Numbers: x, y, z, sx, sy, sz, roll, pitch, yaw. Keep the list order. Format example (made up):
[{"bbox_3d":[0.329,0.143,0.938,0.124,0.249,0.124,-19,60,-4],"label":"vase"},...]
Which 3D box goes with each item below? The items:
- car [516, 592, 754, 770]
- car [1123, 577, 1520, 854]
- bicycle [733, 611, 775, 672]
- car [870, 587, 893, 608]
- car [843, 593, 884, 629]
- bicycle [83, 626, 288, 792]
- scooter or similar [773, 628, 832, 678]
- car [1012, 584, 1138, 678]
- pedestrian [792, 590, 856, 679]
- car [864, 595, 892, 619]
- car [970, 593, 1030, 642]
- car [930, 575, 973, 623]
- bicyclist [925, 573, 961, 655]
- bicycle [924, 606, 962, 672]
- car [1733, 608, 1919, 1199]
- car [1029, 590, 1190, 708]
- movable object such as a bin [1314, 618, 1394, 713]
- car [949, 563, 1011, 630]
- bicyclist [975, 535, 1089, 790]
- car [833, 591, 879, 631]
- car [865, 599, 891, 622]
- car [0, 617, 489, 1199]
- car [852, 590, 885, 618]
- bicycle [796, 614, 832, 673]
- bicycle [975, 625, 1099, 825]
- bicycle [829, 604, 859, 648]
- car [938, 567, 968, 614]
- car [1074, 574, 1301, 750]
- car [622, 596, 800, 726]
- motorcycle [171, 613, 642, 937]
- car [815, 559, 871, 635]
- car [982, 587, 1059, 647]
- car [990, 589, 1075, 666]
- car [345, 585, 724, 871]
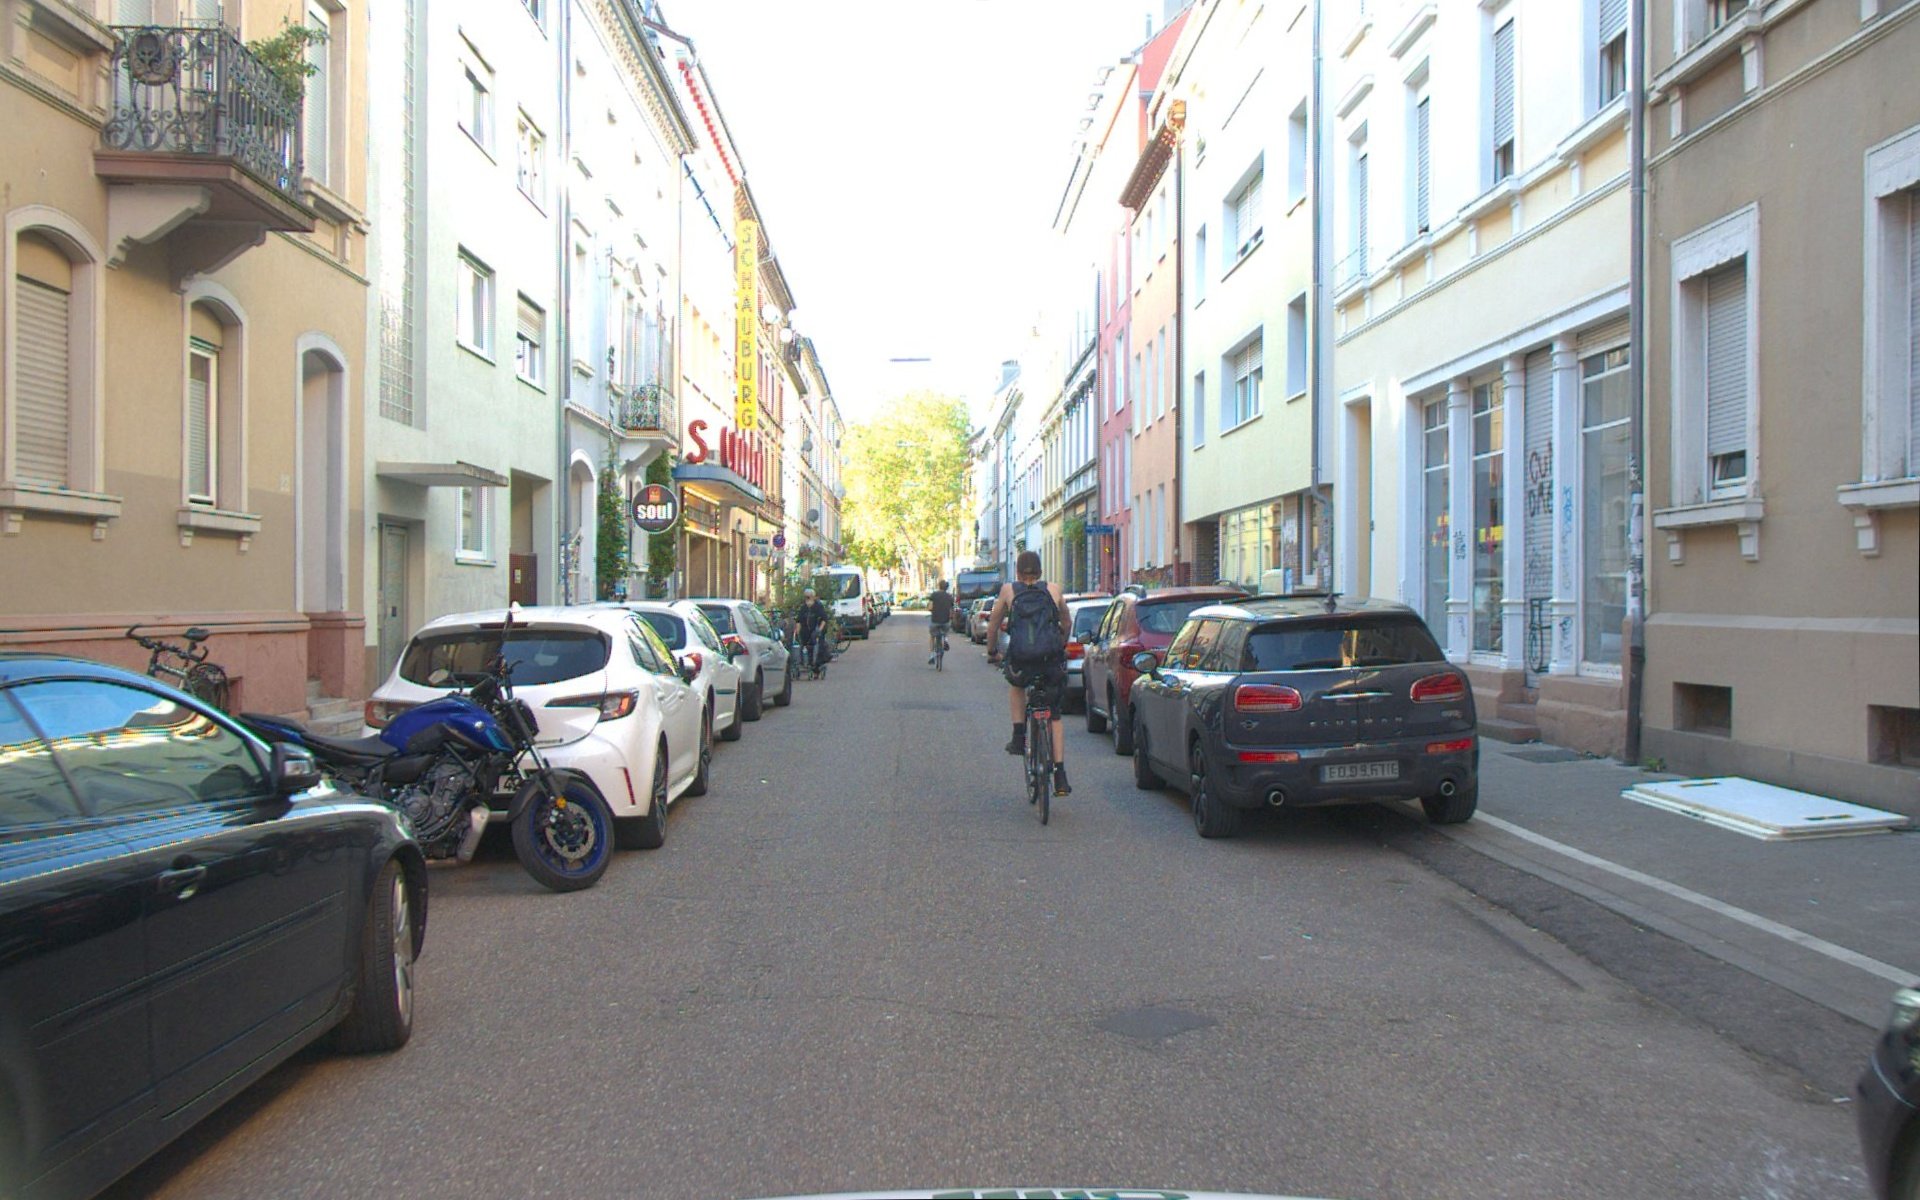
[{"bbox_3d":[-3.035,0.702,16.149,1.638,1.467,3.766,-2,0,-2],"label":"car"},{"bbox_3d":[2.327,0.684,11.729,1.780,1.548,3.998,-2,0,-2],"label":"car"},{"bbox_3d":[-4.121,0.811,33.237,0.743,1.154,2.272,1,0,-5],"label":"bicycle"},{"bbox_3d":[-5.999,-0.169,126.667,1.638,1.467,4.164,-2,0,-2],"label":"car"},{"bbox_3d":[-4.205,0.465,72.814,1.638,1.467,4.164,-2,0,-2],"label":"car"},{"bbox_3d":[-5.746,0.766,12.410,0.580,1.108,2.078,1,0,-1],"label":"bicycle"},{"bbox_3d":[-2.864,0.956,30.050,0.763,0.888,0.763,1,-1,-38],"label":"scooter or similar"},{"bbox_3d":[1.868,0.489,27.873,1.676,1.407,3.998,-2,0,-2],"label":"car"},{"bbox_3d":[-2.495,0.622,30.352,0.891,1.606,0.763,1,-1,-38],"label":"pedestrian"},{"bbox_3d":[-5.294,0.449,106.881,1.638,1.467,4.164,-2,0,-2],"label":"car"},{"bbox_3d":[1.278,0.563,54.321,1.676,1.472,3.998,-2,0,-2],"label":"car"},{"bbox_3d":[-0.534,-0.022,95.353,2.261,2.582,6.767,-2,0,-2],"label":"car"},{"bbox_3d":[-0.347,0.267,33.497,0.688,1.633,0.812,1,1,-2],"label":"bicyclist"},{"bbox_3d":[-0.358,0.770,33.547,0.688,1.229,2.341,1,1,-2],"label":"bicycle"},{"bbox_3d":[2.748,0.721,1.403,1.780,1.463,4.789,-2,0,-2],"label":"car"},{"bbox_3d":[1.958,0.623,22.692,1.676,1.407,3.998,-2,0,-2],"label":"car"},{"bbox_3d":[4.815,0.796,20.231,0.790,1.094,0.678,-3,0,3],"label":"movable object such as a bin"},{"bbox_3d":[0.785,-0.124,69.944,2.261,2.582,6.767,-2,0,-2],"label":"car"},{"bbox_3d":[0.482,0.414,11.432,0.688,1.662,1.090,1,0,-2],"label":"bicyclist"},{"bbox_3d":[-4.080,0.430,65.315,1.638,1.467,4.164,-2,0,-2],"label":"car"},{"bbox_3d":[-5.654,0.715,114.093,1.638,1.467,4.164,-2,0,-2],"label":"car"},{"bbox_3d":[-2.614,0.815,3.977,1.675,1.407,4.356,0,1,0],"label":"car"},{"bbox_3d":[-5.036,0.226,91.354,1.638,1.467,4.164,-2,0,-2],"label":"car"},{"bbox_3d":[-2.932,0.846,33.168,0.686,1.125,2.272,1,0,-5],"label":"bicycle"},{"bbox_3d":[0.500,0.811,11.647,0.688,1.229,2.341,1,0,-2],"label":"bicycle"},{"bbox_3d":[-3.187,0.698,45.342,0.743,1.184,2.272,1,0,-5],"label":"bicycle"},{"bbox_3d":[-0.650,-0.804,142.747,2.261,3.833,6.767,-2,0,-2],"label":"car"},{"bbox_3d":[2.274,0.588,17.516,1.676,1.583,3.998,-2,0,-2],"label":"car"},{"bbox_3d":[-3.123,0.728,21.424,1.637,1.467,3.754,-2,0,1],"label":"car"},{"bbox_3d":[-2.731,0.821,8.314,2.115,1.383,0.537,-3,1,-20],"label":"motorcycle"},{"bbox_3d":[-4.110,-0.123,58.322,1.872,2.540,4.162,-1,0,-4],"label":"car"},{"bbox_3d":[1.533,0.417,42.933,1.676,1.418,3.998,-2,0,-2],"label":"car"},{"bbox_3d":[1.589,0.603,37.479,1.588,1.577,3.998,-2,0,-2],"label":"car"},{"bbox_3d":[-2.586,0.696,11.000,1.639,1.467,4.162,-2,0,-4],"label":"car"}]
